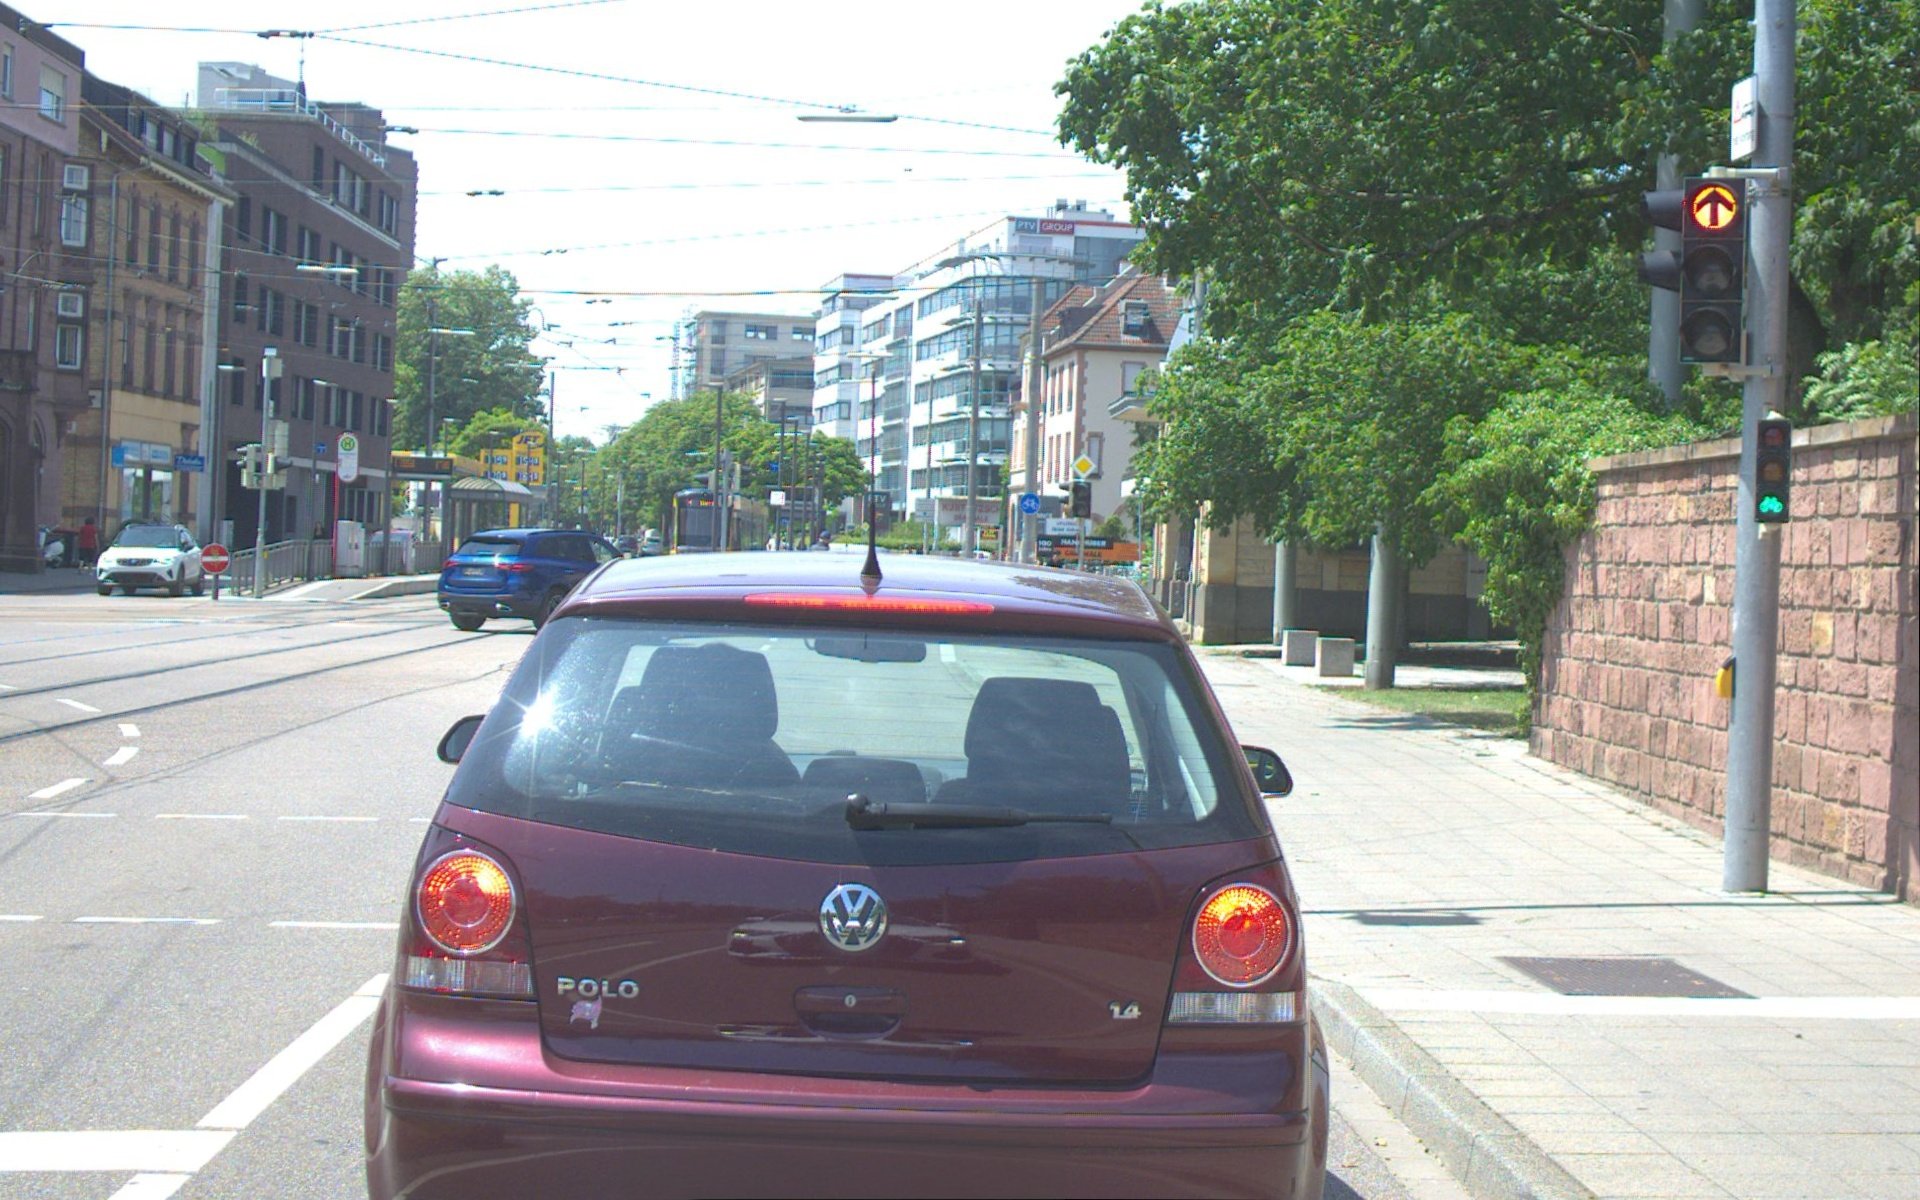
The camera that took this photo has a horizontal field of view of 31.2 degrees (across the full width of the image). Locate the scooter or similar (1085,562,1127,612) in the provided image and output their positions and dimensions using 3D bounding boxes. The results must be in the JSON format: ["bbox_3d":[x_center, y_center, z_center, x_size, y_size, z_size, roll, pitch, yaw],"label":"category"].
[{"bbox_3d":[3.570,-0.312,84.113,0.339,1.174,1.468,2,1,-25],"label":"scooter or similar"}]

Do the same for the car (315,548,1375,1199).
[{"bbox_3d":[-0.225,0.654,6.717,1.561,1.448,3.062,2,1,-2],"label":"car"}]

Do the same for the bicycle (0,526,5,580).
[{"bbox_3d":[-20.707,-0.980,72.357,0.694,1.145,1.932,2,2,-2],"label":"bicycle"}]

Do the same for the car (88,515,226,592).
[{"bbox_3d":[-17.280,-1.016,74.179,1.993,1.547,4.139,2,1,-1],"label":"car"}]

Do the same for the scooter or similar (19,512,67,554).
[{"bbox_3d":[-24.479,-1.780,91.771,0.488,1.078,1.576,2,1,16],"label":"scooter or similar"}]

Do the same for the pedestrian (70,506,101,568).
[{"bbox_3d":[-22.561,-1.631,88.707,0.614,1.555,0.640,2,1,-1],"label":"pedestrian"}]

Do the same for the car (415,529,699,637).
[{"bbox_3d":[-6.461,-0.262,55.570,1.997,1.619,4.623,3,1,33],"label":"car"}]

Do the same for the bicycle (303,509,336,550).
[{"bbox_3d":[-20.868,-2.309,112.026,0.677,1.300,2.105,3,2,-2],"label":"bicycle"}]

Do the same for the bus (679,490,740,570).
[{"bbox_3d":[-9.845,-2.746,134.987,2.233,2.993,6.595,2,1,-4],"label":"bus"}]

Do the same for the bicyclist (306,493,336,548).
[{"bbox_3d":[-20.842,-2.587,112.089,0.732,1.756,1.135,3,1,-1],"label":"bicyclist"}]

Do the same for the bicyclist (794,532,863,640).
[{"bbox_3d":[-2.184,-0.231,57.091,0.728,1.754,0.922,3,1,27],"label":"bicyclist"}]

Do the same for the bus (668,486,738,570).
[{"bbox_3d":[-9.575,-2.671,128.427,2.145,2.993,6.574,2,1,-1],"label":"bus"}]

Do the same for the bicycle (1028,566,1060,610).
[{"bbox_3d":[2.064,-0.301,84.755,0.668,0.999,1.864,-2,3,-1],"label":"bicycle"}]

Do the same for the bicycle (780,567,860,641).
[{"bbox_3d":[-2.305,0.057,56.889,0.376,1.193,1.902,3,1,28],"label":"bicycle"}]

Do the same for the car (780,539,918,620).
[{"bbox_3d":[-2.216,-0.431,69.745,1.824,1.525,3.998,2,1,12],"label":"car"}]

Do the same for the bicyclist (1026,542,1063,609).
[{"bbox_3d":[2.080,-0.604,84.773,0.832,1.612,0.860,-2,2,-1],"label":"bicyclist"}]
